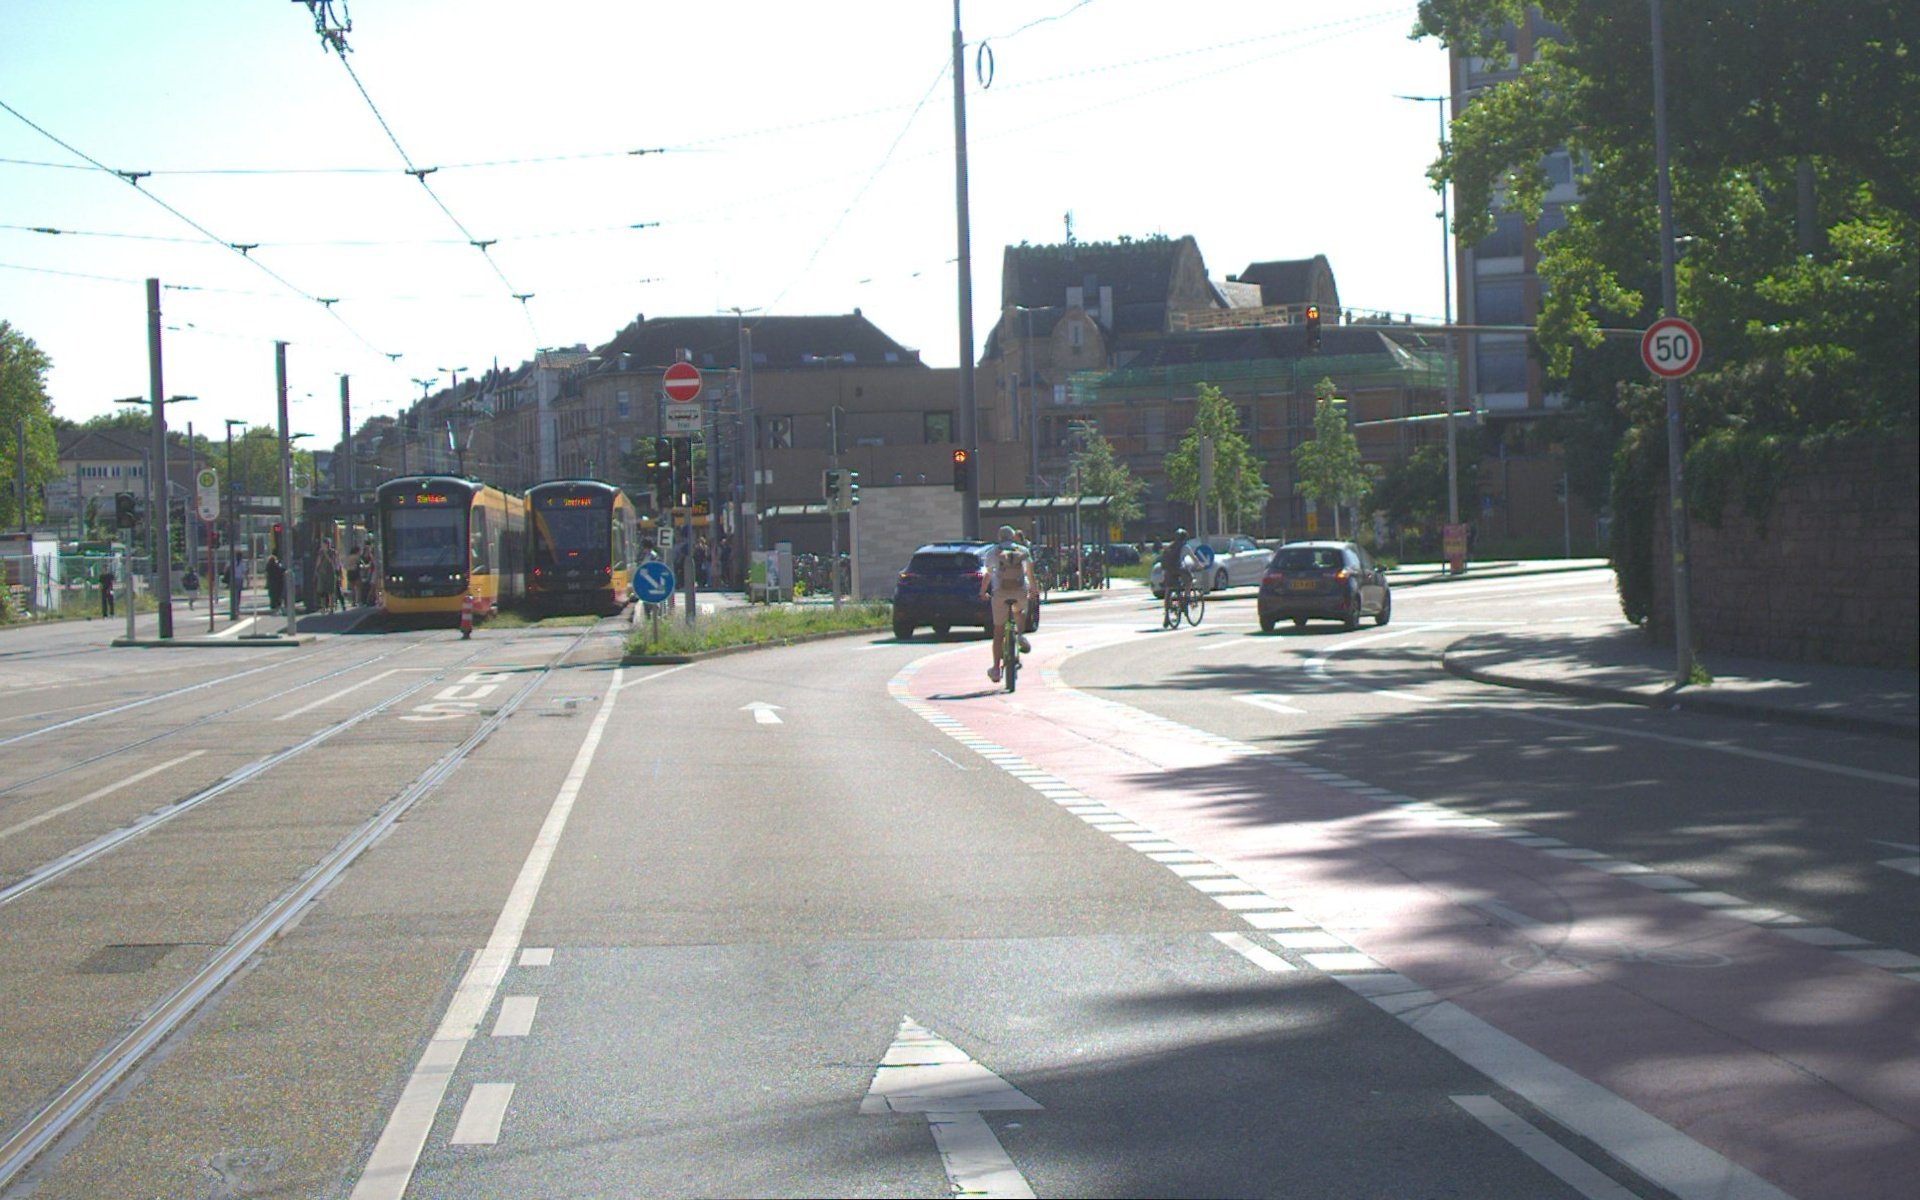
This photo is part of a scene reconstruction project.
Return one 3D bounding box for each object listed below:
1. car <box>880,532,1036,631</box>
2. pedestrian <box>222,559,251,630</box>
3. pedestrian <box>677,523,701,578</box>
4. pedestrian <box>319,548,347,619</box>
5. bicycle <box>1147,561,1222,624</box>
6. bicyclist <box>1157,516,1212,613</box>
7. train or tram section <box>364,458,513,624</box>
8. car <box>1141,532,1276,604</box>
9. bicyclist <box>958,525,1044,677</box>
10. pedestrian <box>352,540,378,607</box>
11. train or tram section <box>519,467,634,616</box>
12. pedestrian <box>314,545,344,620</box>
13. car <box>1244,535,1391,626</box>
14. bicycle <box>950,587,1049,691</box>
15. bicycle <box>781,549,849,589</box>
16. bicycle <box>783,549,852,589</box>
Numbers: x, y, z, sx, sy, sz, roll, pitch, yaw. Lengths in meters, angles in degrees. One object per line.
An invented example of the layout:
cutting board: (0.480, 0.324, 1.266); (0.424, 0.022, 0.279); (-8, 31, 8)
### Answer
car: (0.002, -0.336, 58.159); (1.790, 1.599, 3.710); (0, 1, 14)
pedestrian: (-18.955, -0.145, 90.097); (0.626, 1.821, 0.662); (-2, 1, -6)
pedestrian: (-9.735, -1.780, 123.423); (0.660, 1.946, 0.629); (-2, 1, -16)
pedestrian: (-16.358, -0.434, 89.683); (0.626, 1.821, 0.662); (-2, 1, -6)
bicycle: (3.999, -0.143, 61.120); (0.705, 1.051, 2.311); (1, 2, 20)
bicyclist: (3.991, -0.646, 61.071); (0.705, 1.694, 0.986); (1, 2, 20)
train or tram section: (-12.600, -1.473, 84.005); (2.741, 3.639, 13.788); (-2, 1, -5)
car: (5.870, -0.773, 80.851); (1.704, 1.638, 3.706); (0, 1, 31)
bicyclist: (0.464, 0.000, 38.413); (0.705, 1.669, 1.100); (0, 1, 15)
pedestrian: (-16.482, -0.736, 95.221); (0.626, 1.821, 0.662); (-2, 1, -6)
train or tram section: (-10.211, -1.606, 92.411); (2.741, 3.639, 13.788); (-2, 1, -5)
pedestrian: (-15.503, -0.436, 84.503); (0.626, 1.821, 0.662); (-2, 1, -6)
car: (6.256, -0.359, 59.799); (1.790, 1.506, 3.709); (0, 1, 18)
bicycle: (0.453, 0.421, 38.373); (0.705, 1.101, 1.716); (0, 1, 15)
bicycle: (-4.246, -0.919, 100.601); (1.933, 1.099, 0.599); (-2, 1, -7)
bicycle: (-4.150, -0.912, 99.862); (1.933, 1.099, 0.599); (-2, 1, -7)
